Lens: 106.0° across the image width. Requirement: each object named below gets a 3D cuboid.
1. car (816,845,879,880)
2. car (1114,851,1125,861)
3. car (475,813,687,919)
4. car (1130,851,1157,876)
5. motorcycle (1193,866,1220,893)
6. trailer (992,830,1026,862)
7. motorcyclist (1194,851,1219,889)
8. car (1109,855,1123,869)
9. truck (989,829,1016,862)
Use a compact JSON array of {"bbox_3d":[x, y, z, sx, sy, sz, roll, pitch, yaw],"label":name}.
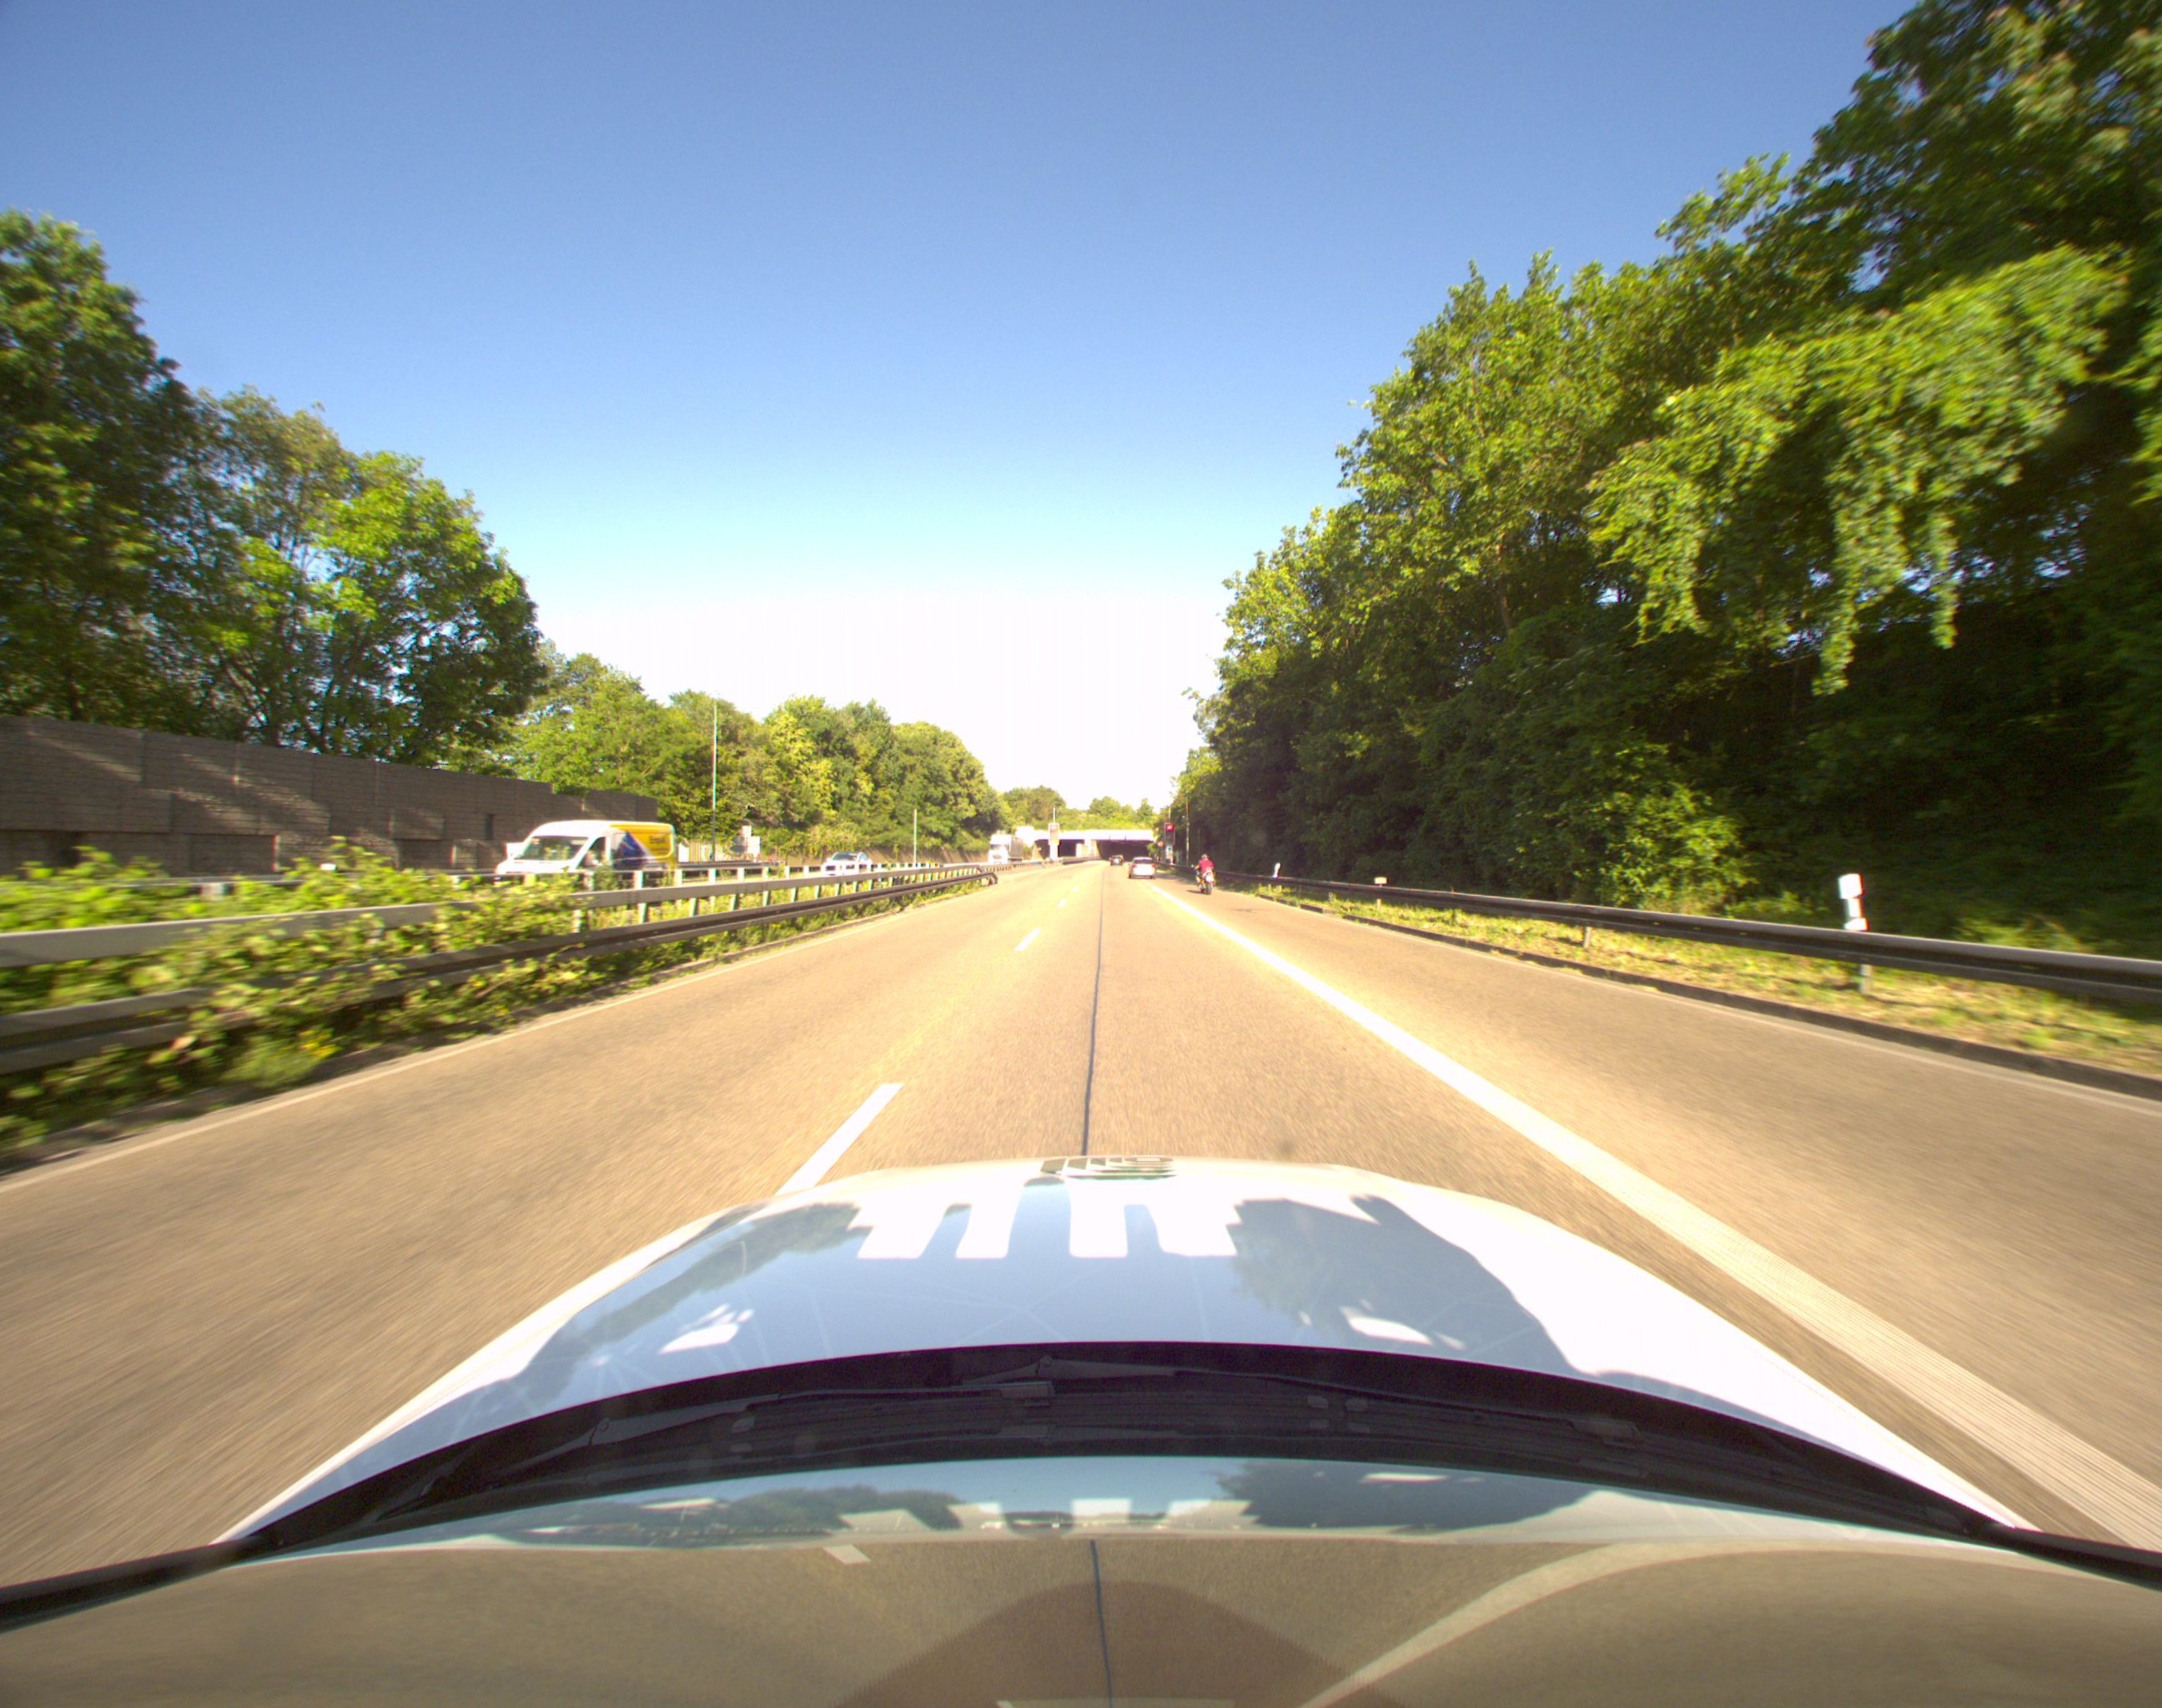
[{"bbox_3d":[-13.216,0.425,46.426,1.986,1.782,4.787,2,1,2],"label":"car"},{"bbox_3d":[7.282,0.369,154.434,1.986,1.925,4.002,1,0,2],"label":"car"},{"bbox_3d":[-14.056,0.256,23.544,2.139,2.610,6.055,2,1,2],"label":"car"},{"bbox_3d":[4.247,0.638,55.471,1.660,1.552,4.003,2,1,3],"label":"car"},{"bbox_3d":[5.185,1.038,33.712,0.855,0.991,2.731,2,0,4],"label":"motorcycle"},{"bbox_3d":[-10.415,-1.246,119.188,2.736,4.279,14.099,2,1,3],"label":"trailer"},{"bbox_3d":[5.179,0.635,33.623,0.879,1.501,1.064,2,1,4],"label":"motorcyclist"},{"bbox_3d":[5.109,1.115,119.855,1.986,1.925,4.002,1,0,2],"label":"car"},{"bbox_3d":[-10.768,-1.163,112.427,2.724,4.261,6.392,2,1,3],"label":"truck"}]
